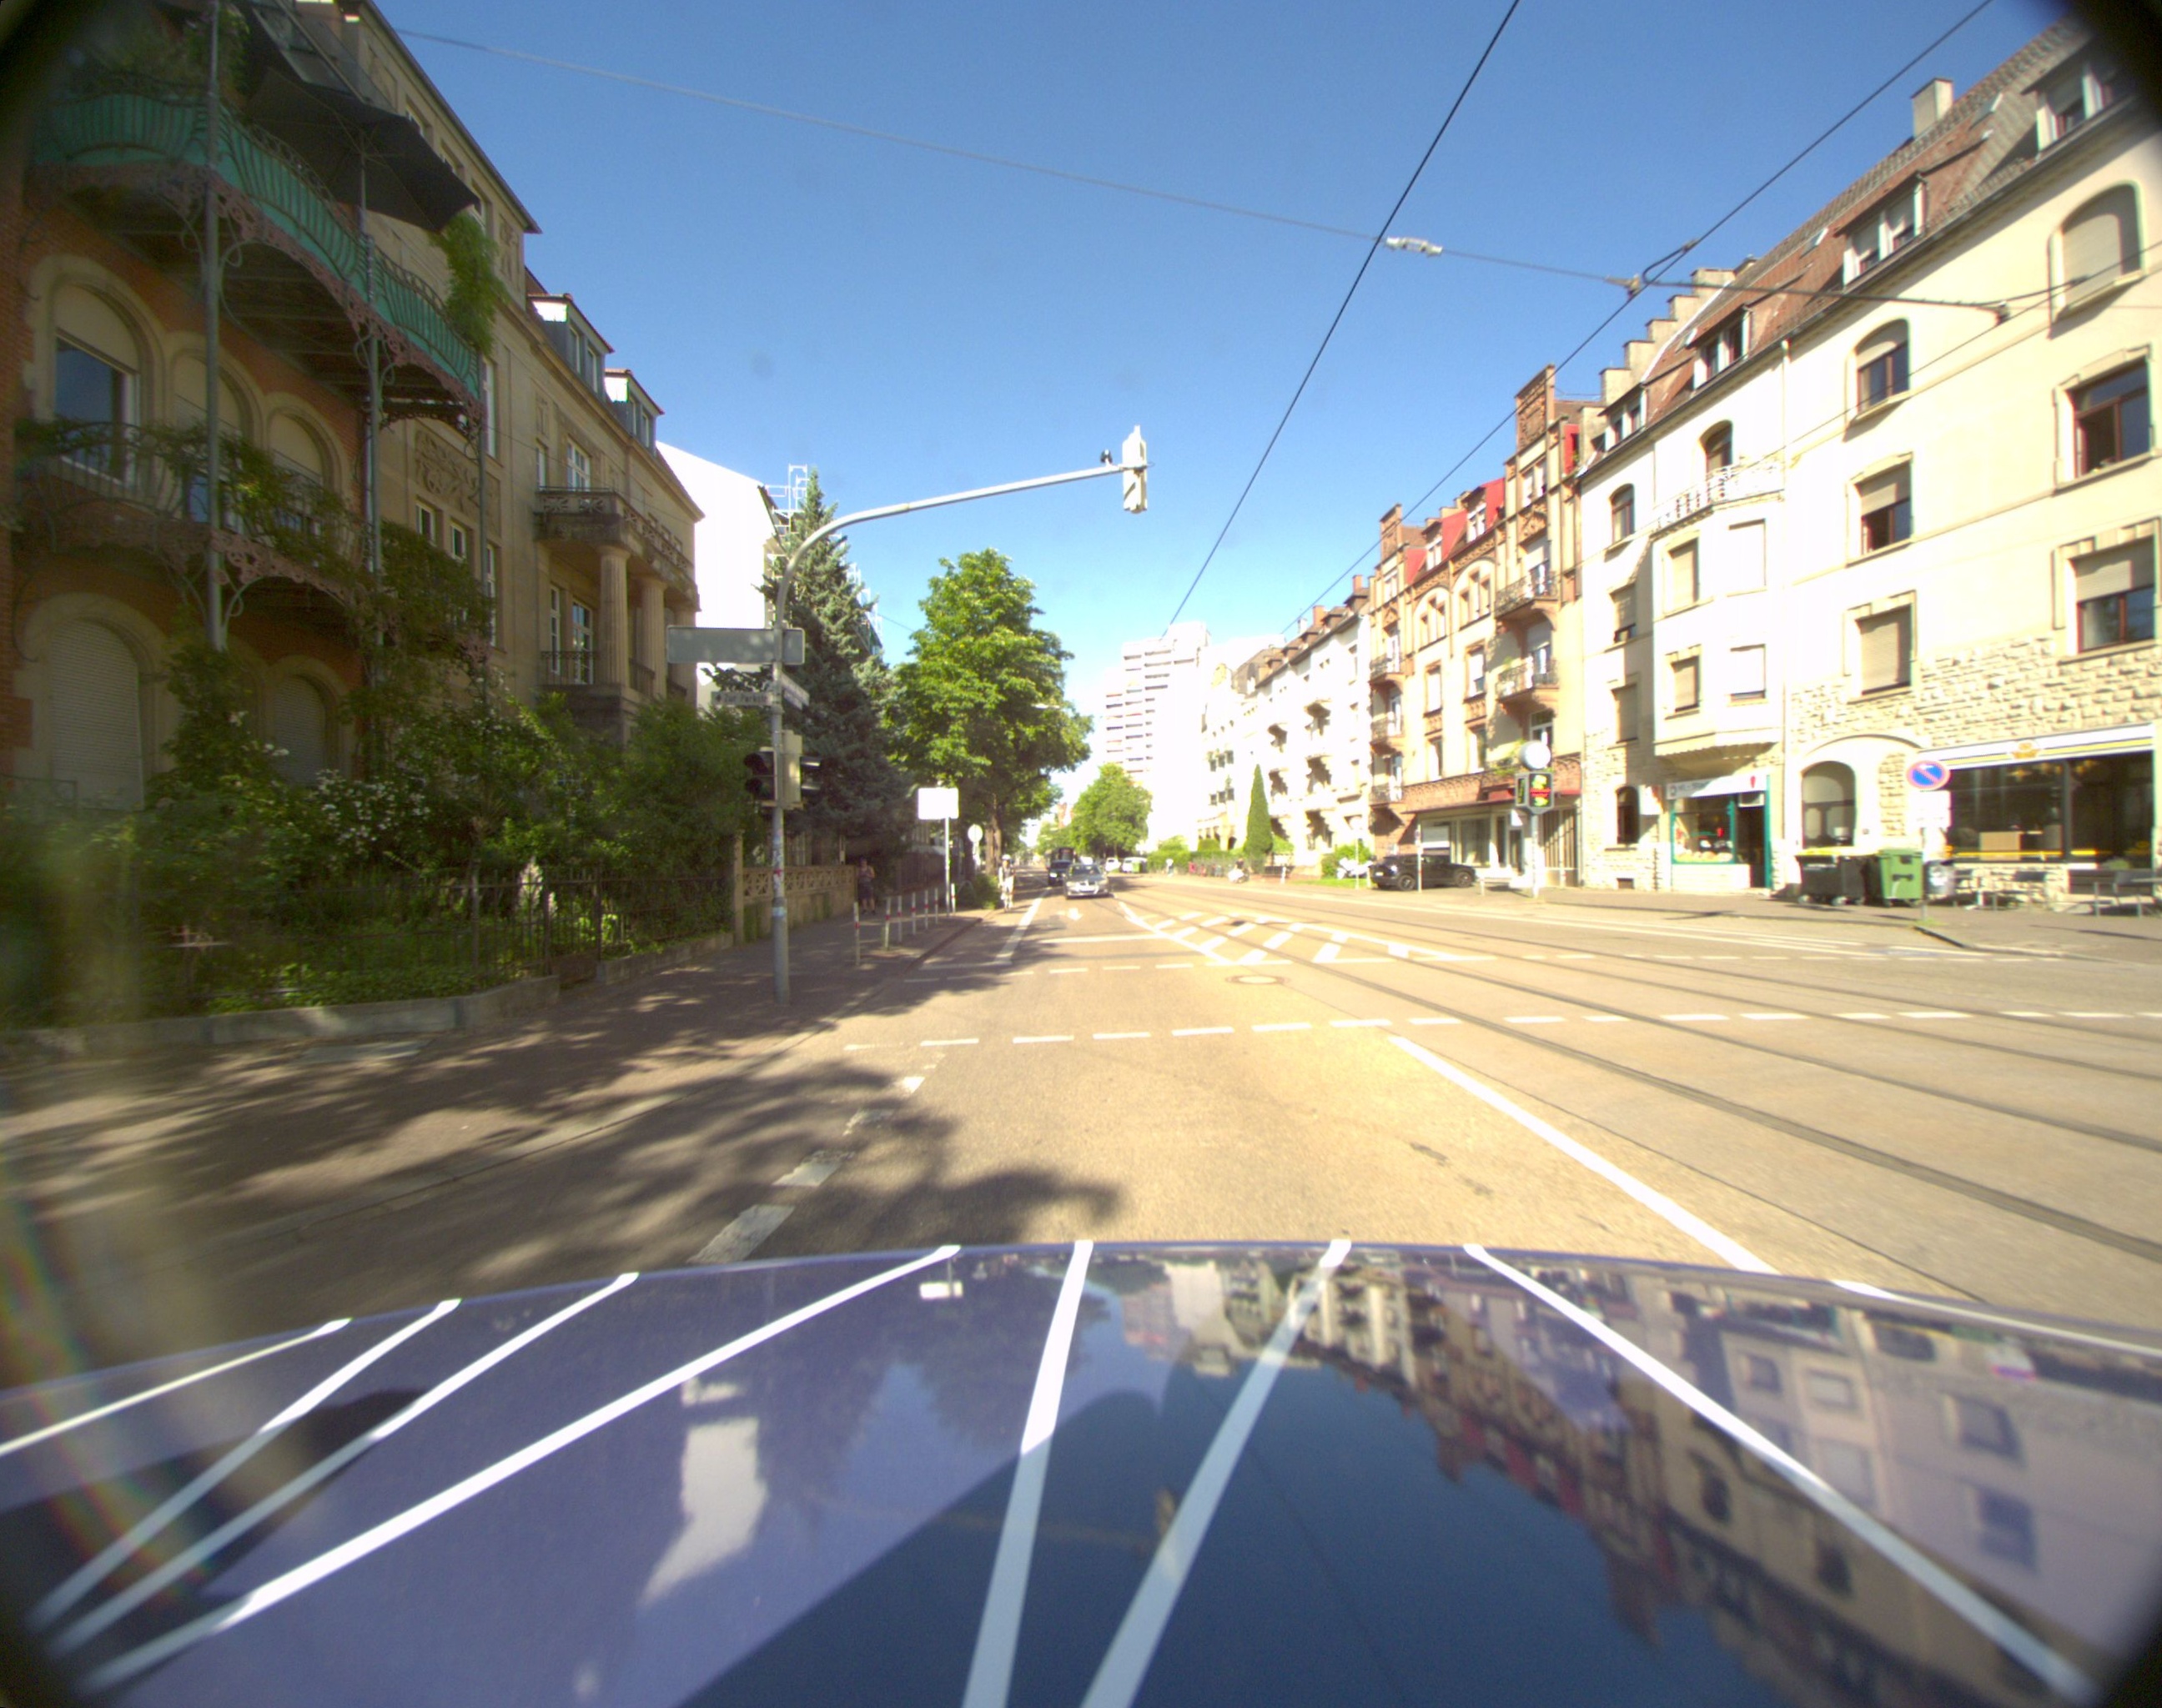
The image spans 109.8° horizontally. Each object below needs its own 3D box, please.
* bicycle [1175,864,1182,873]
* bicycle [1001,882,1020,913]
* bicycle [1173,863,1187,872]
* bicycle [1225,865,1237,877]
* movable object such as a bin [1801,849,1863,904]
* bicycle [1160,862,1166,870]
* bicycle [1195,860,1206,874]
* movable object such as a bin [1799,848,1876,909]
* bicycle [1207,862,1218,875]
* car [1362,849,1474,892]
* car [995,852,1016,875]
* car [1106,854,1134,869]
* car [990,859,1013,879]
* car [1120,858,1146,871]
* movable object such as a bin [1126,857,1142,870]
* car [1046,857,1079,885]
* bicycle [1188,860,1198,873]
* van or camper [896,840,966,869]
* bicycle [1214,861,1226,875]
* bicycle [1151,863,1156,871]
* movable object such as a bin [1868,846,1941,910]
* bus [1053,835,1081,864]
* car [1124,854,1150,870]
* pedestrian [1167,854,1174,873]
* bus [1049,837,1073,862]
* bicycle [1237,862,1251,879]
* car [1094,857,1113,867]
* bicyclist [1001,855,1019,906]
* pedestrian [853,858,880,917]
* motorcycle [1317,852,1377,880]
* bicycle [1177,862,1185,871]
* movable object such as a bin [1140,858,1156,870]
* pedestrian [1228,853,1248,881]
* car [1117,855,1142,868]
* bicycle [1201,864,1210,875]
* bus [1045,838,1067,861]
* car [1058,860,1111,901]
[{"bbox_3d":[8.758,1.280,68.385,0.339,0.757,1.263,-2,1,-3],"label":"bicycle"},{"bbox_3d":[-2.382,1.461,25.838,0.535,0.917,2.056,-2,1,-3],"label":"bicycle"},{"bbox_3d":[9.321,1.243,71.572,1.262,0.789,0.297,-2,1,-3],"label":"bicycle"},{"bbox_3d":[10.130,1.150,51.321,0.318,0.757,1.651,-2,1,-3],"label":"bicycle"},{"bbox_3d":[18.667,0.557,18.898,0.856,1.318,0.657,-2,1,8],"label":"movable object such as a bin"},{"bbox_3d":[8.114,1.180,75.131,0.297,0.757,1.263,-2,1,-3],"label":"bicycle"},{"bbox_3d":[9.449,1.007,60.140,0.405,1.018,1.815,-2,1,-3],"label":"bicycle"},{"bbox_3d":[18.072,0.566,18.173,0.856,1.373,1.028,-2,1,8],"label":"movable object such as a bin"},{"bbox_3d":[9.784,1.073,56.618,0.405,0.937,1.648,-2,1,-3],"label":"bicycle"},{"bbox_3d":[14.311,0.658,32.319,4.000,1.494,1.770,-4,1,-10],"label":"car"},{"bbox_3d":[-8.228,1.005,82.043,2.133,2.329,5.801,0,0,-7],"label":"car"},{"bbox_3d":[5.267,1.047,102.366,1.918,1.860,3.450,-1,1,41],"label":"car"},{"bbox_3d":[-6.666,1.247,63.601,1.878,1.534,4.363,1,0,-7],"label":"car"},{"bbox_3d":[6.301,1.217,91.939,2.758,1.427,1.457,-2,1,-20],"label":"car"},{"bbox_3d":[5.947,1.082,85.503,1.513,1.424,2.095,-2,1,-3],"label":"movable object such as a bin"},{"bbox_3d":[-1.192,1.002,46.697,1.829,1.559,3.998,-2,1,-3],"label":"car"},{"bbox_3d":[9.178,0.991,62.437,0.405,1.018,1.815,-2,1,-3],"label":"bicycle"},{"bbox_3d":[-15.006,0.047,75.966,6.722,2.612,2.126,-2,1,20],"label":"van or camper"},{"bbox_3d":[9.971,1.001,54.590,0.405,0.937,1.748,-2,1,-3],"label":"bicycle"},{"bbox_3d":[7.581,1.371,79.819,0.297,0.757,1.263,-2,1,-3],"label":"bicycle"},{"bbox_3d":[18.528,0.524,17.127,1.024,1.373,0.859,-1,1,41],"label":"movable object such as a bin"},{"bbox_3d":[-2.087,-0.654,109.158,2.858,3.755,12.190,-2,1,-6],"label":"bus"},{"bbox_3d":[6.605,0.990,88.964,1.456,1.763,3.194,-1,-2,41],"label":"car"},{"bbox_3d":[7.800,0.856,65.993,0.476,1.619,0.659,-2,1,-3],"label":"pedestrian"},{"bbox_3d":[-3.238,-0.723,120.798,2.868,3.755,11.176,-2,1,-6],"label":"bus"},{"bbox_3d":[10.556,1.079,49.108,0.405,1.033,1.748,-2,1,-3],"label":"bicycle"},{"bbox_3d":[3.654,1.299,122.077,2.758,1.417,1.225,-2,1,-20],"label":"car"},{"bbox_3d":[-2.410,0.885,25.838,0.532,1.660,0.878,-2,1,-3],"label":"bicyclist"},{"bbox_3d":[-6.162,0.961,21.836,0.593,1.662,0.646,1,1,-3],"label":"pedestrian"},{"bbox_3d":[15.096,0.658,43.118,3.094,1.448,0.823,-2,1,-6],"label":"motorcycle"},{"bbox_3d":[8.771,1.100,66.844,0.405,0.757,1.581,-2,1,-3],"label":"bicycle"},{"bbox_3d":[7.590,1.132,86.588,1.501,1.309,2.095,-2,1,-3],"label":"movable object such as a bin"},{"bbox_3d":[9.630,0.802,46.670,0.869,1.619,0.870,-6,1,-3],"label":"pedestrian"},{"bbox_3d":[6.116,0.919,95.315,2.758,1.427,1.457,-2,1,-20],"label":"car"},{"bbox_3d":[9.547,1.190,58.397,0.318,0.757,1.542,-2,1,-3],"label":"bicycle"},{"bbox_3d":[-4.432,-0.789,132.139,2.868,3.755,11.491,-2,1,-6],"label":"bus"},{"bbox_3d":[0.082,1.039,30.897,1.870,1.426,3.998,-2,1,-3],"label":"car"}]
